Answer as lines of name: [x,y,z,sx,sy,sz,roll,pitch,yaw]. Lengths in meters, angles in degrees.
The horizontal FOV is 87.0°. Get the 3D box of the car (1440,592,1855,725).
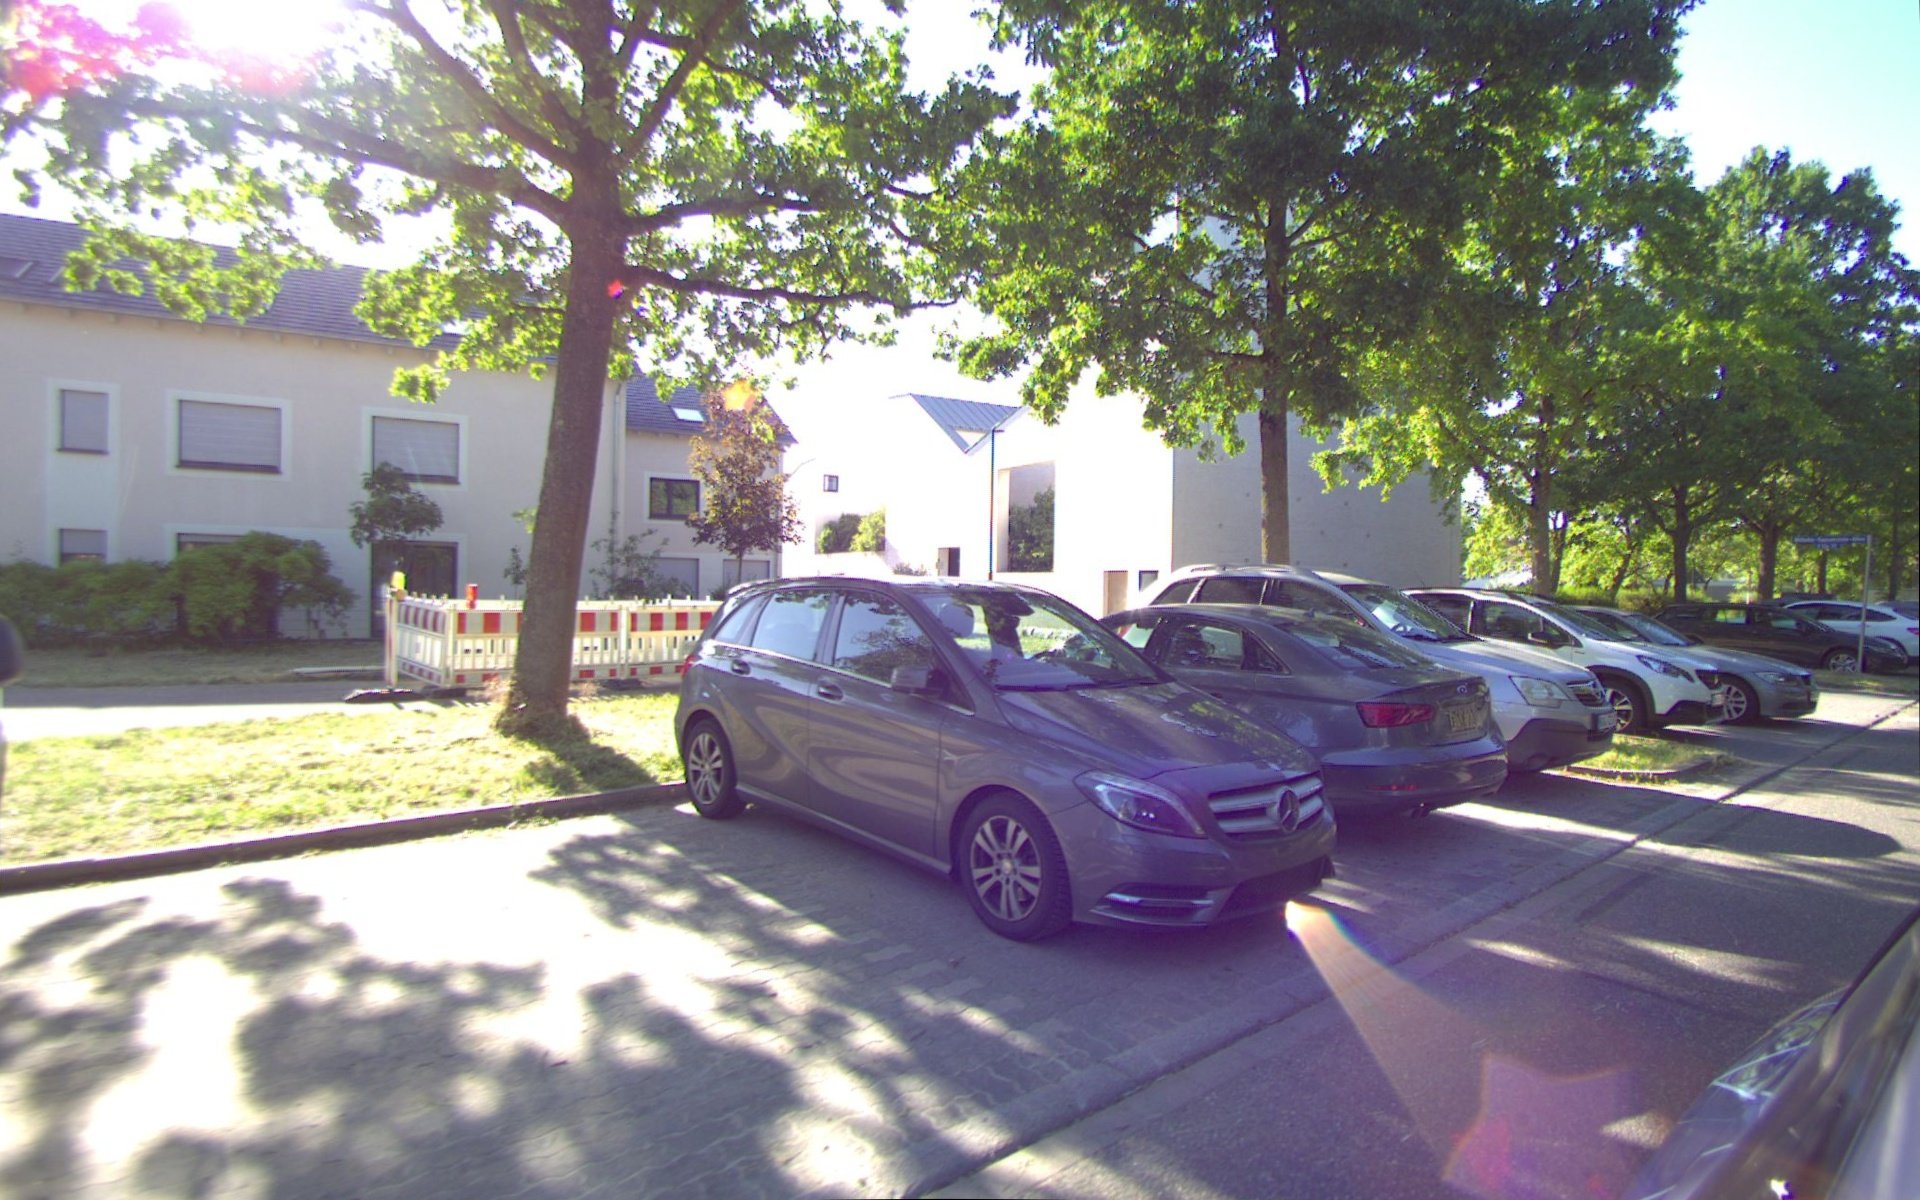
car: [9.393,0.679,14.159,1.877,1.407,4.455,1,2,-40]

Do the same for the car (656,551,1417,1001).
car: [0.087,0.595,5.795,1.900,1.588,4.219,1,0,-42]

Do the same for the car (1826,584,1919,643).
car: [31.400,0.465,32.995,1.902,1.823,4.540,0,2,-40]

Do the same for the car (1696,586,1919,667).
car: [20.547,0.572,23.956,1.882,1.600,4.682,1,2,-39]

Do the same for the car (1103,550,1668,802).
car: [3.615,0.454,9.291,1.819,1.671,4.392,1,3,-42]

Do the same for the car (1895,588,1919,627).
car: [45.694,0.429,45.813,1.952,1.743,4.654,0,3,-39]

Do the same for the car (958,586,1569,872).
car: [1.958,0.667,7.520,1.866,1.451,3.997,1,1,-38]

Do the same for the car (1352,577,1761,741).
car: [7.072,0.566,12.317,1.746,1.515,3.893,0,3,-41]

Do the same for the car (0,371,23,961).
car: [-3.864,0.286,2.559,2.046,2.131,5.196,0,2,-41]

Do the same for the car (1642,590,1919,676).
car: [18.059,0.631,22.272,1.883,1.473,4.681,1,3,-41]

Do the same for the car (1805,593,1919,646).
car: [29.305,0.630,31.569,1.767,1.490,4.233,1,2,-38]

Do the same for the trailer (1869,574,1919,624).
trailer: [47.348,0.060,48.179,1.655,2.346,5.792,1,3,-38]
